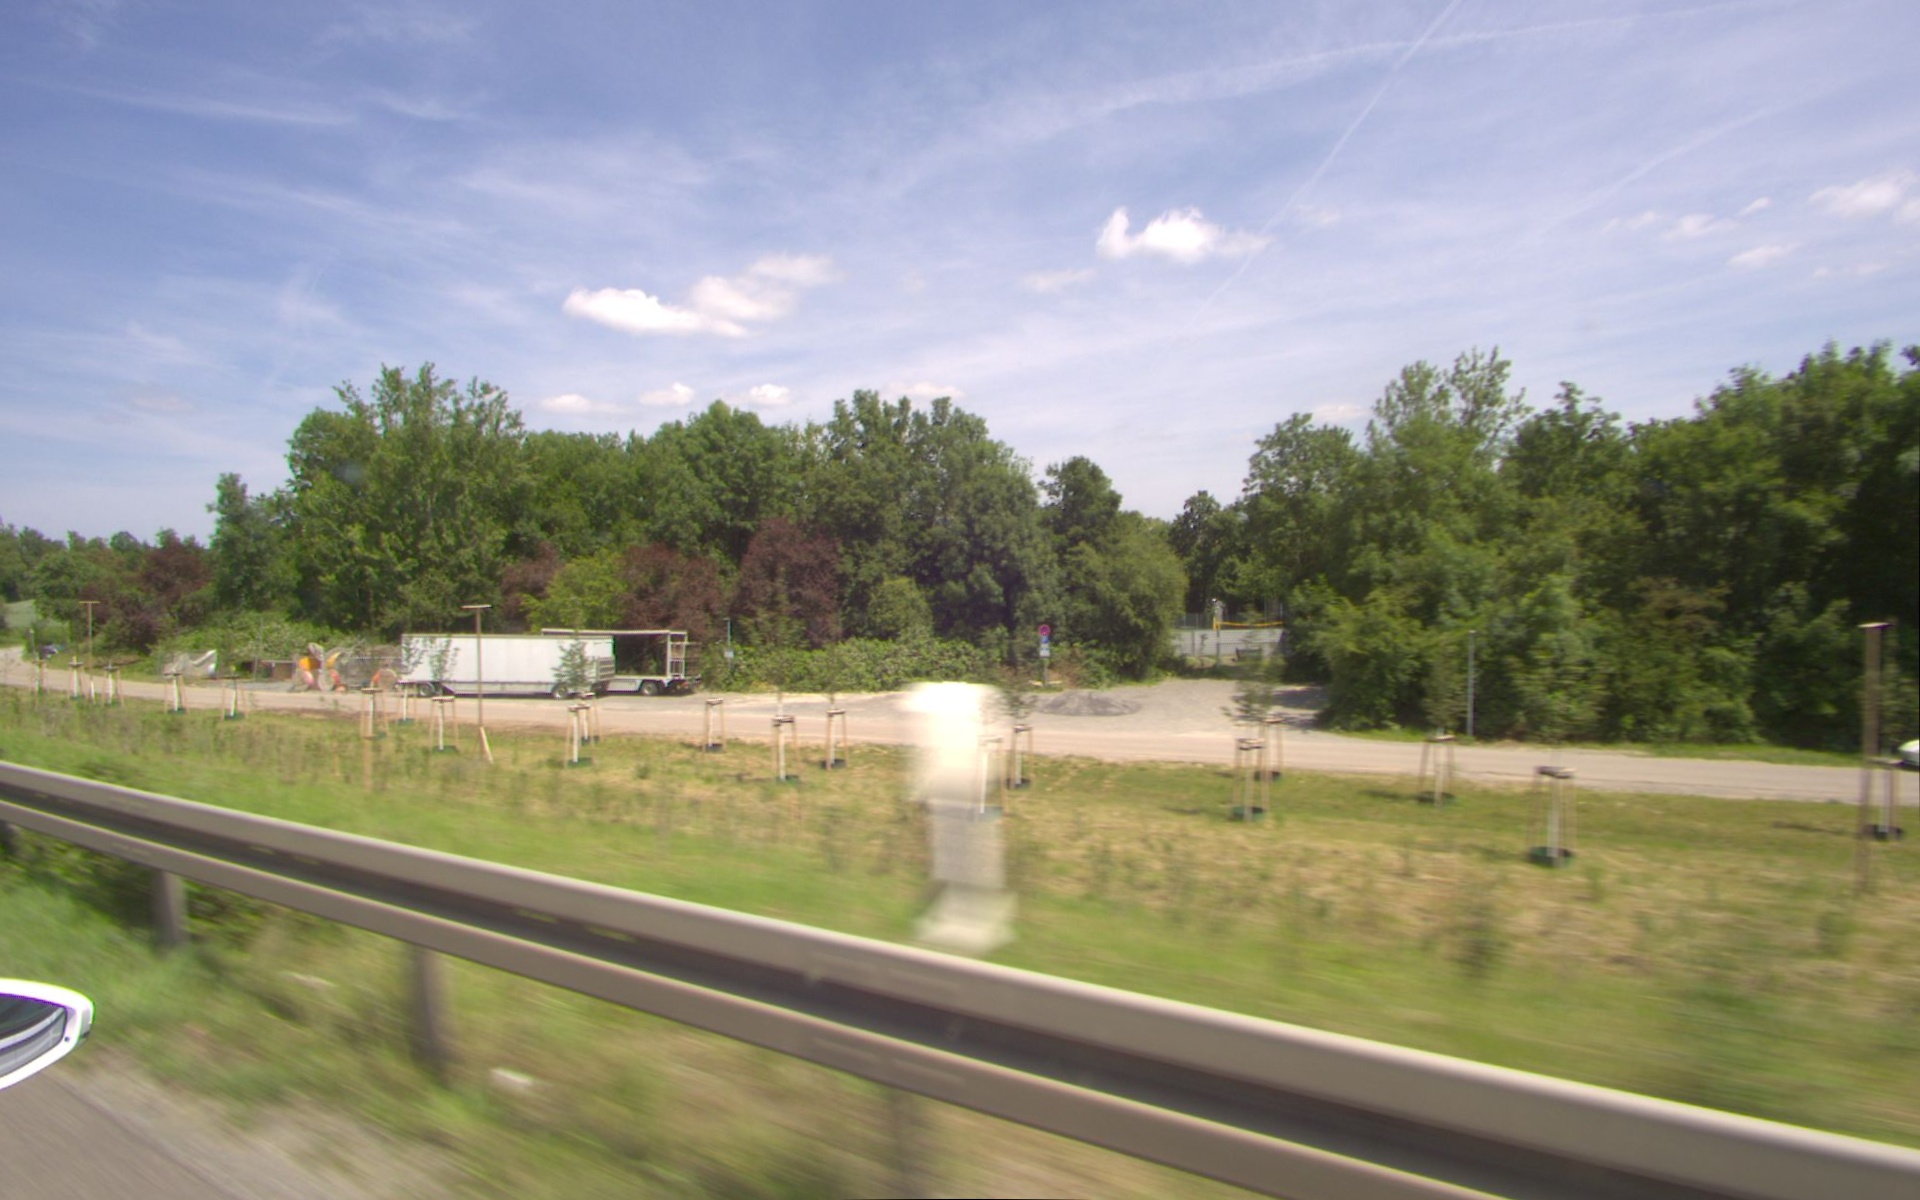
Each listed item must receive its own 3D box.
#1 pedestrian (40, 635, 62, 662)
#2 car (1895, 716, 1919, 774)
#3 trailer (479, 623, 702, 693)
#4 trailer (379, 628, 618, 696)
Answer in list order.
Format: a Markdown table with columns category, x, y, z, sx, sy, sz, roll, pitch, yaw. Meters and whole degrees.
| category | x | y | z | sx | sy | sz | roll | pitch | yaw |
| --- | --- | --- | --- | --- | --- | --- | --- | --- | --- |
| pedestrian | -66.672 | 3.542 | 73.441 | 0.945 | 1.836 | 0.882 | 1 | 3 | 32 |
| car | 31.106 | 4.440 | 29.689 | 4.530 | 1.504 | 1.857 | 0 | 3 | 23 |
| trailer | -20.672 | 3.200 | 56.253 | 11.663 | 3.653 | 2.728 | 0 | -1 | 5 |
| trailer | -24.524 | 3.260 | 53.496 | 11.663 | 3.371 | 2.727 | 0 | 0 | 3 |
